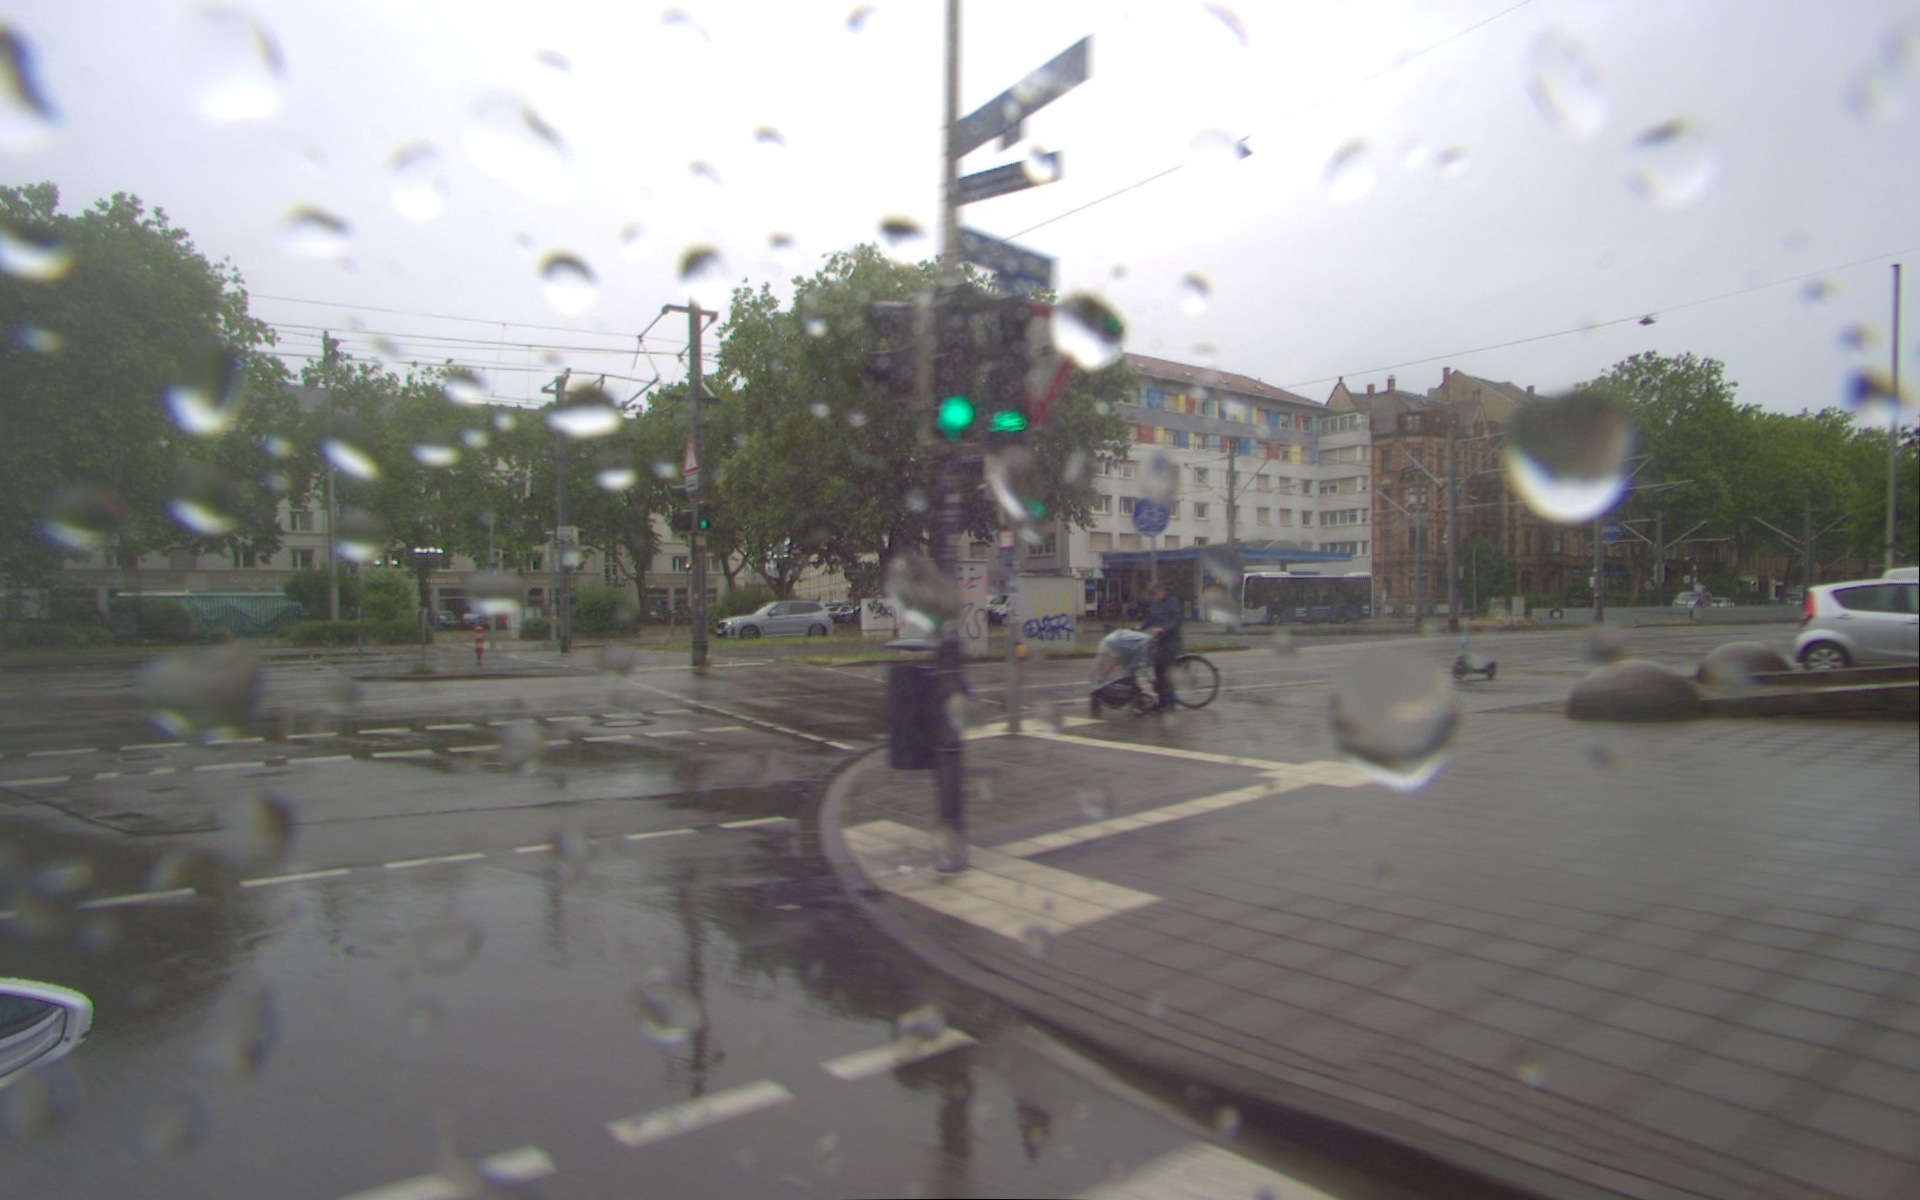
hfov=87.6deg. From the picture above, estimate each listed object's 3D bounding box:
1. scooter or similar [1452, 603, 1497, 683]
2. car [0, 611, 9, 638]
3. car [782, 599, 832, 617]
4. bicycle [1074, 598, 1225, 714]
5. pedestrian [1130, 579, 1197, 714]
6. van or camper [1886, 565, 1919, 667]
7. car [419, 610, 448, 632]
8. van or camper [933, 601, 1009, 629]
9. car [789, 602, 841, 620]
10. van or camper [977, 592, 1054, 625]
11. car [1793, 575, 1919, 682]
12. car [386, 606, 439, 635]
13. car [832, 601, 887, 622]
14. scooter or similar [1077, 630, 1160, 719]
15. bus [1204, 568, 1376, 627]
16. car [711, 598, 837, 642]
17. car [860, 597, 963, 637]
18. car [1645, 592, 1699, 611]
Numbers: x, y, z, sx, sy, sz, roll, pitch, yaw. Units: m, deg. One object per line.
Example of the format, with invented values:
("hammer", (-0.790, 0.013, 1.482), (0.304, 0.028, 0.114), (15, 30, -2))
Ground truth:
("scooter or similar", (9.269, 0.754, 18.037), (1.090, 1.406, 0.284), (-1, 1, -37))
("car", (-57.631, 1.496, 59.227), (1.665, 1.595, 3.707), (-1, -1, -38))
("car", (-13.038, 0.656, 85.355), (3.947, 1.471, 1.666), (-1, 0, -34))
("bicycle", (2.527, 0.721, 13.383), (1.907, 1.486, 0.532), (0, 1, 21))
("pedestrian", (2.616, 0.578, 12.860), (0.679, 1.686, 0.601), (0, 1, 34))
("van or camper", (18.216, 0.157, 16.597), (1.628, 1.749, 3.906), (-1, -3, -36))
("car", (-39.024, 1.593, 74.232), (1.534, 1.485, 3.347), (-1, -2, -34))
("van or camper", (0.705, 0.916, 62.430), (4.617, 1.620, 1.983), (-1, 0, -40))
("car", (-12.053, 0.899, 83.075), (3.947, 1.471, 1.666), (-1, 0, -34))
("van or camper", (3.403, 0.509, 60.912), (4.617, 1.940, 1.983), (-1, 0, -40))
("car", (15.164, 0.410, 15.297), (1.713, 1.593, 3.341), (-1, -3, -33))
("car", (-30.535, 1.132, 55.805), (1.651, 1.541, 3.643), (-1, 0, -44))
("car", (-7.717, 0.870, 76.935), (3.848, 1.572, 1.815), (-1, 0, -38))
("scooter or similar", (2.008, 0.922, 12.660), (0.911, 1.062, 0.512), (0, 1, 33))
("bus", (19.489, -0.163, 58.545), (11.942, 3.155, 2.874), (0, 1, -34))
("car", (-7.194, 0.746, 38.938), (4.499, 1.621, 1.779), (0, 0, -37))
("car", (-2.054, 0.707, 42.819), (4.127, 1.621, 1.765), (0, 0, -37))
("car", (63.502, 0.112, 89.408), (3.763, 1.645, 1.767), (-1, 0, 30))
